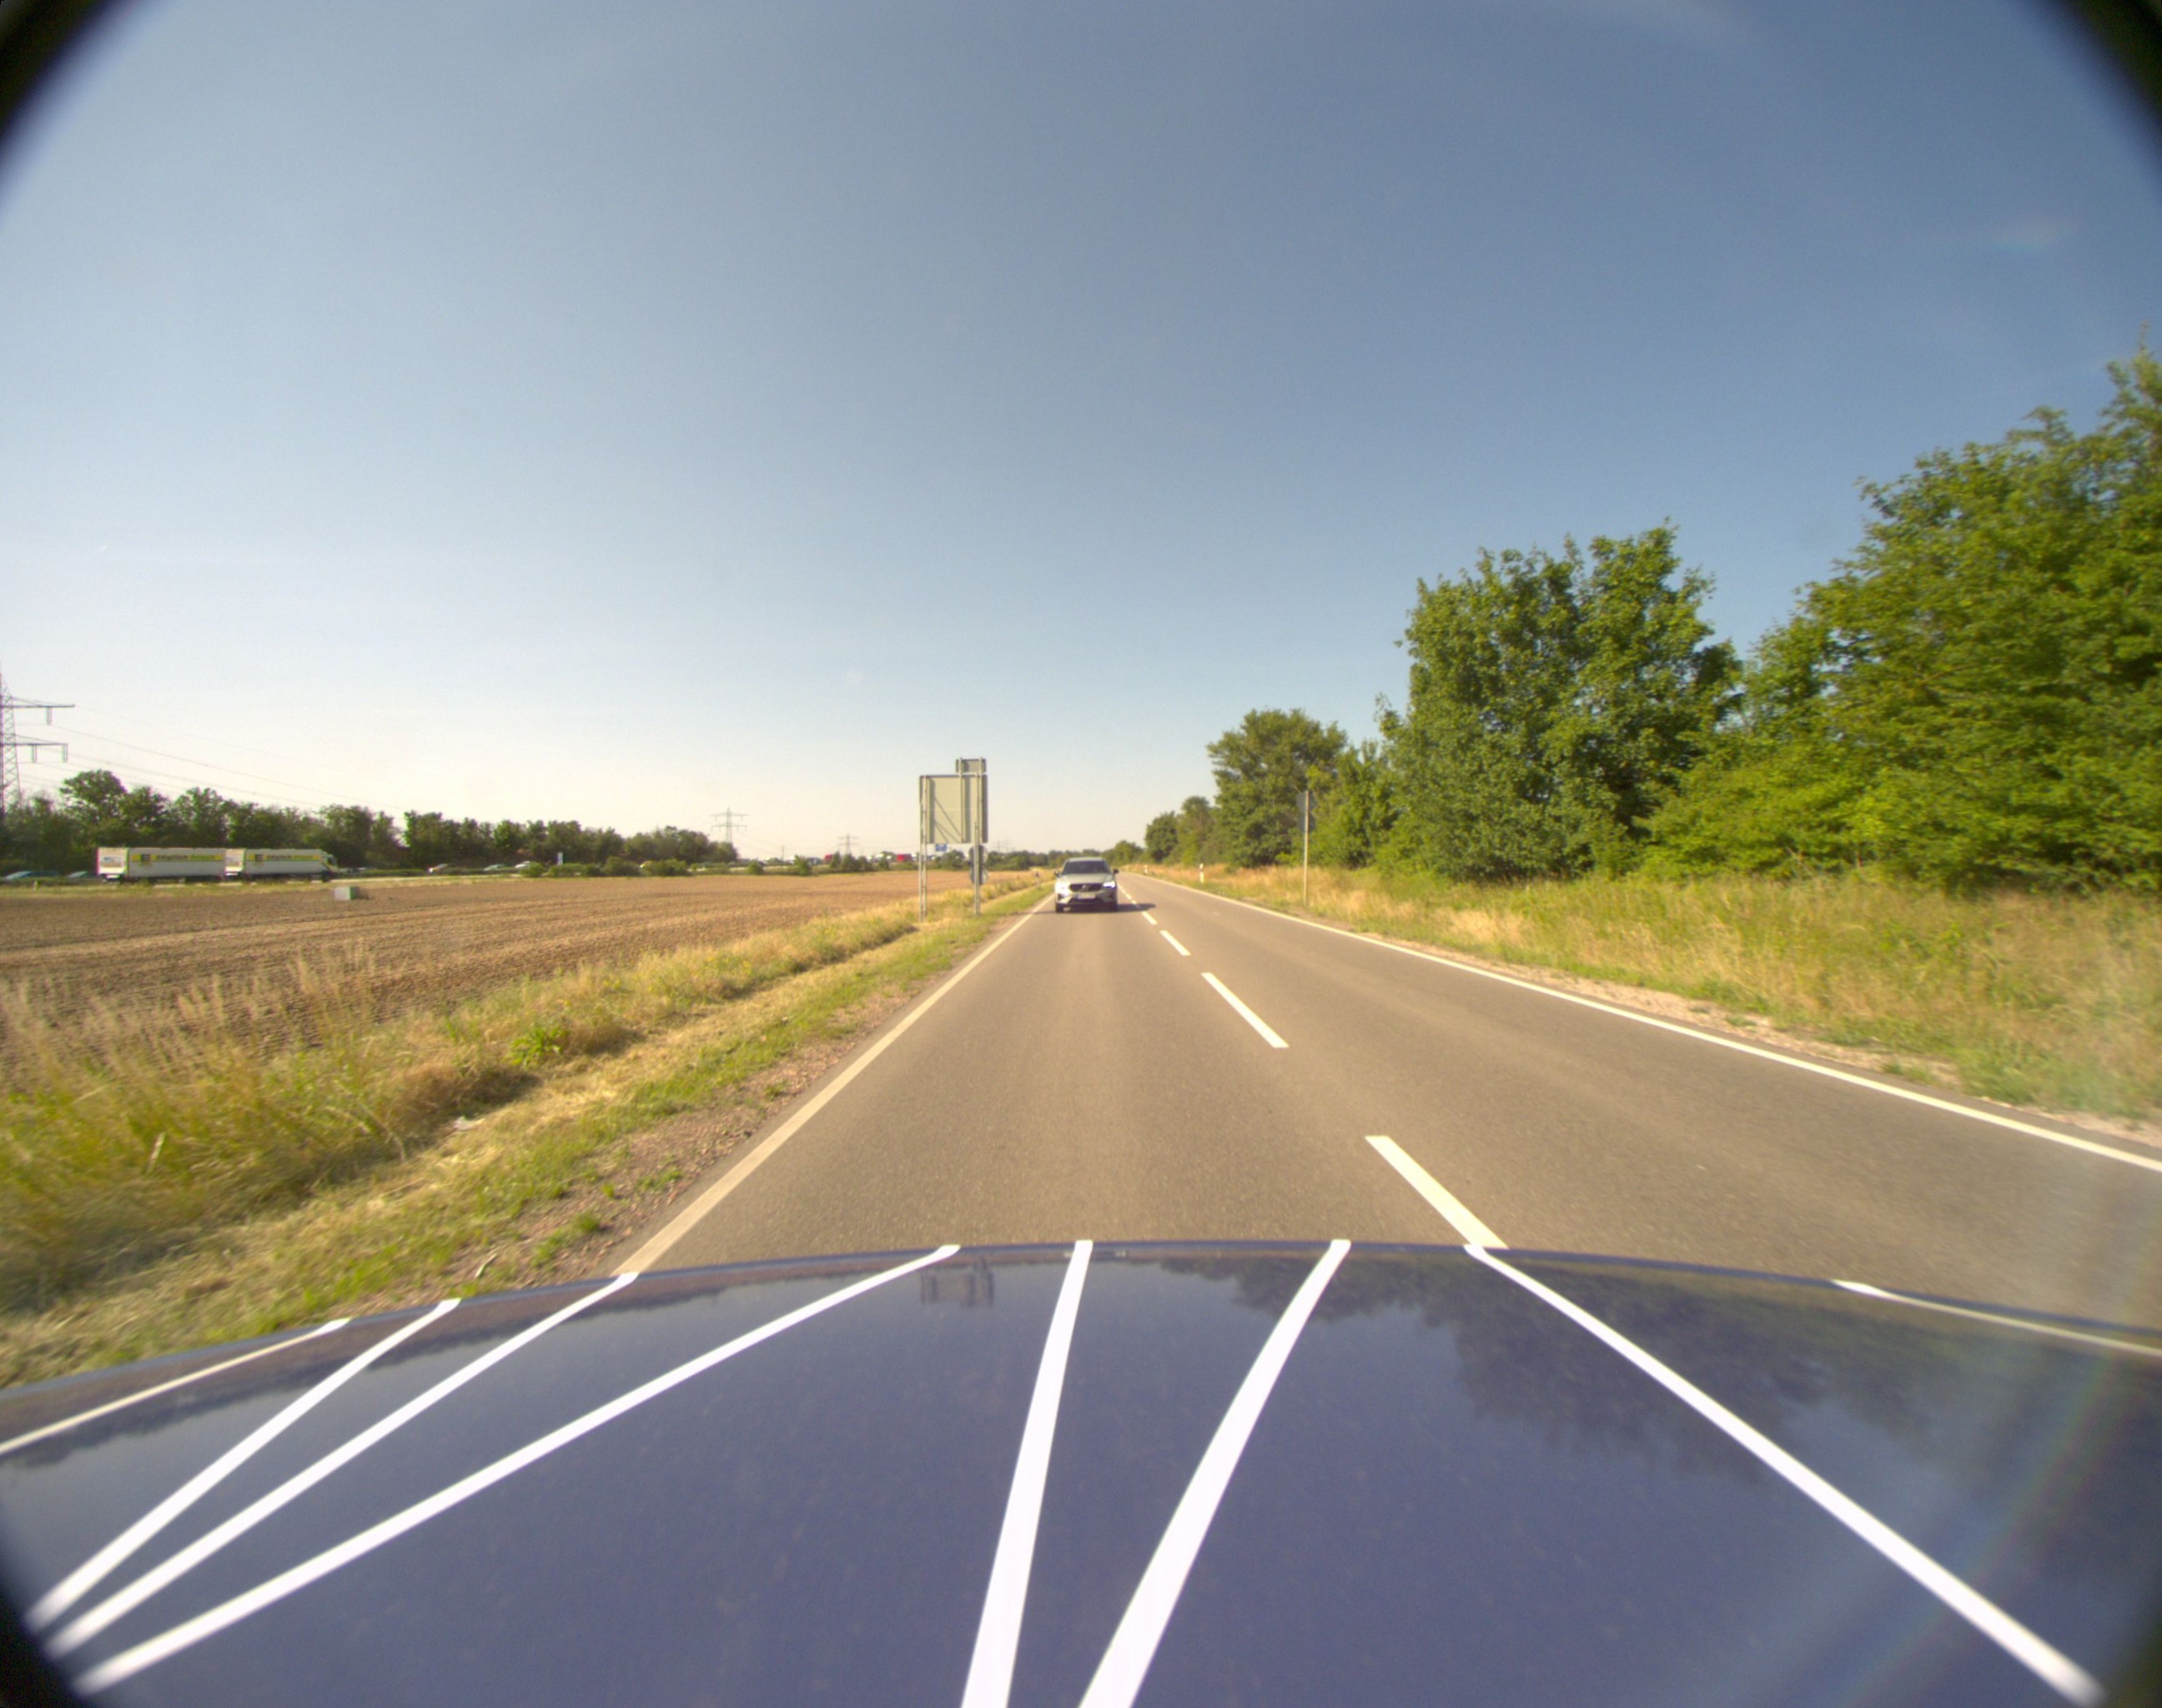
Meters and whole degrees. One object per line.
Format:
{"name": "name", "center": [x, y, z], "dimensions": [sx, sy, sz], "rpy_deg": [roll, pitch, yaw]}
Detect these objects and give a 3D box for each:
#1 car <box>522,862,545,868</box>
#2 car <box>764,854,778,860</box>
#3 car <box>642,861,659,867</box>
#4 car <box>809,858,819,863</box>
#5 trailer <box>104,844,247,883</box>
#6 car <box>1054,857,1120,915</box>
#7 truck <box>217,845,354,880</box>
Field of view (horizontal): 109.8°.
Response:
{"name": "car", "center": [-100.275, 2.008, 139.146], "dimensions": [1.344, 1.118, 3.862], "rpy_deg": [-2, 0, 0]}
{"name": "car", "center": [-98.061, 0.996, 240.517], "dimensions": [2.054, 1.671, 5.609], "rpy_deg": [-2, 0, 2]}
{"name": "car", "center": [-94.967, 2.272, 167.669], "dimensions": [1.485, 1.220, 3.595], "rpy_deg": [-2, 0, 0]}
{"name": "car", "center": [-79.573, 1.935, 226.545], "dimensions": [1.583, 1.256, 3.551], "rpy_deg": [-3, 0, 1]}
{"name": "trailer", "center": [-83.540, 0.853, 70.452], "dimensions": [2.800, 3.395, 8.717], "rpy_deg": [-1, 0, 0]}
{"name": "car", "center": [0.201, 0.925, 23.872], "dimensions": [1.840, 1.627, 4.135], "rpy_deg": [-2, 0, 1]}
{"name": "truck", "center": [-83.614, 0.855, 80.344], "dimensions": [2.813, 3.457, 11.120], "rpy_deg": [-1, 0, 0]}
